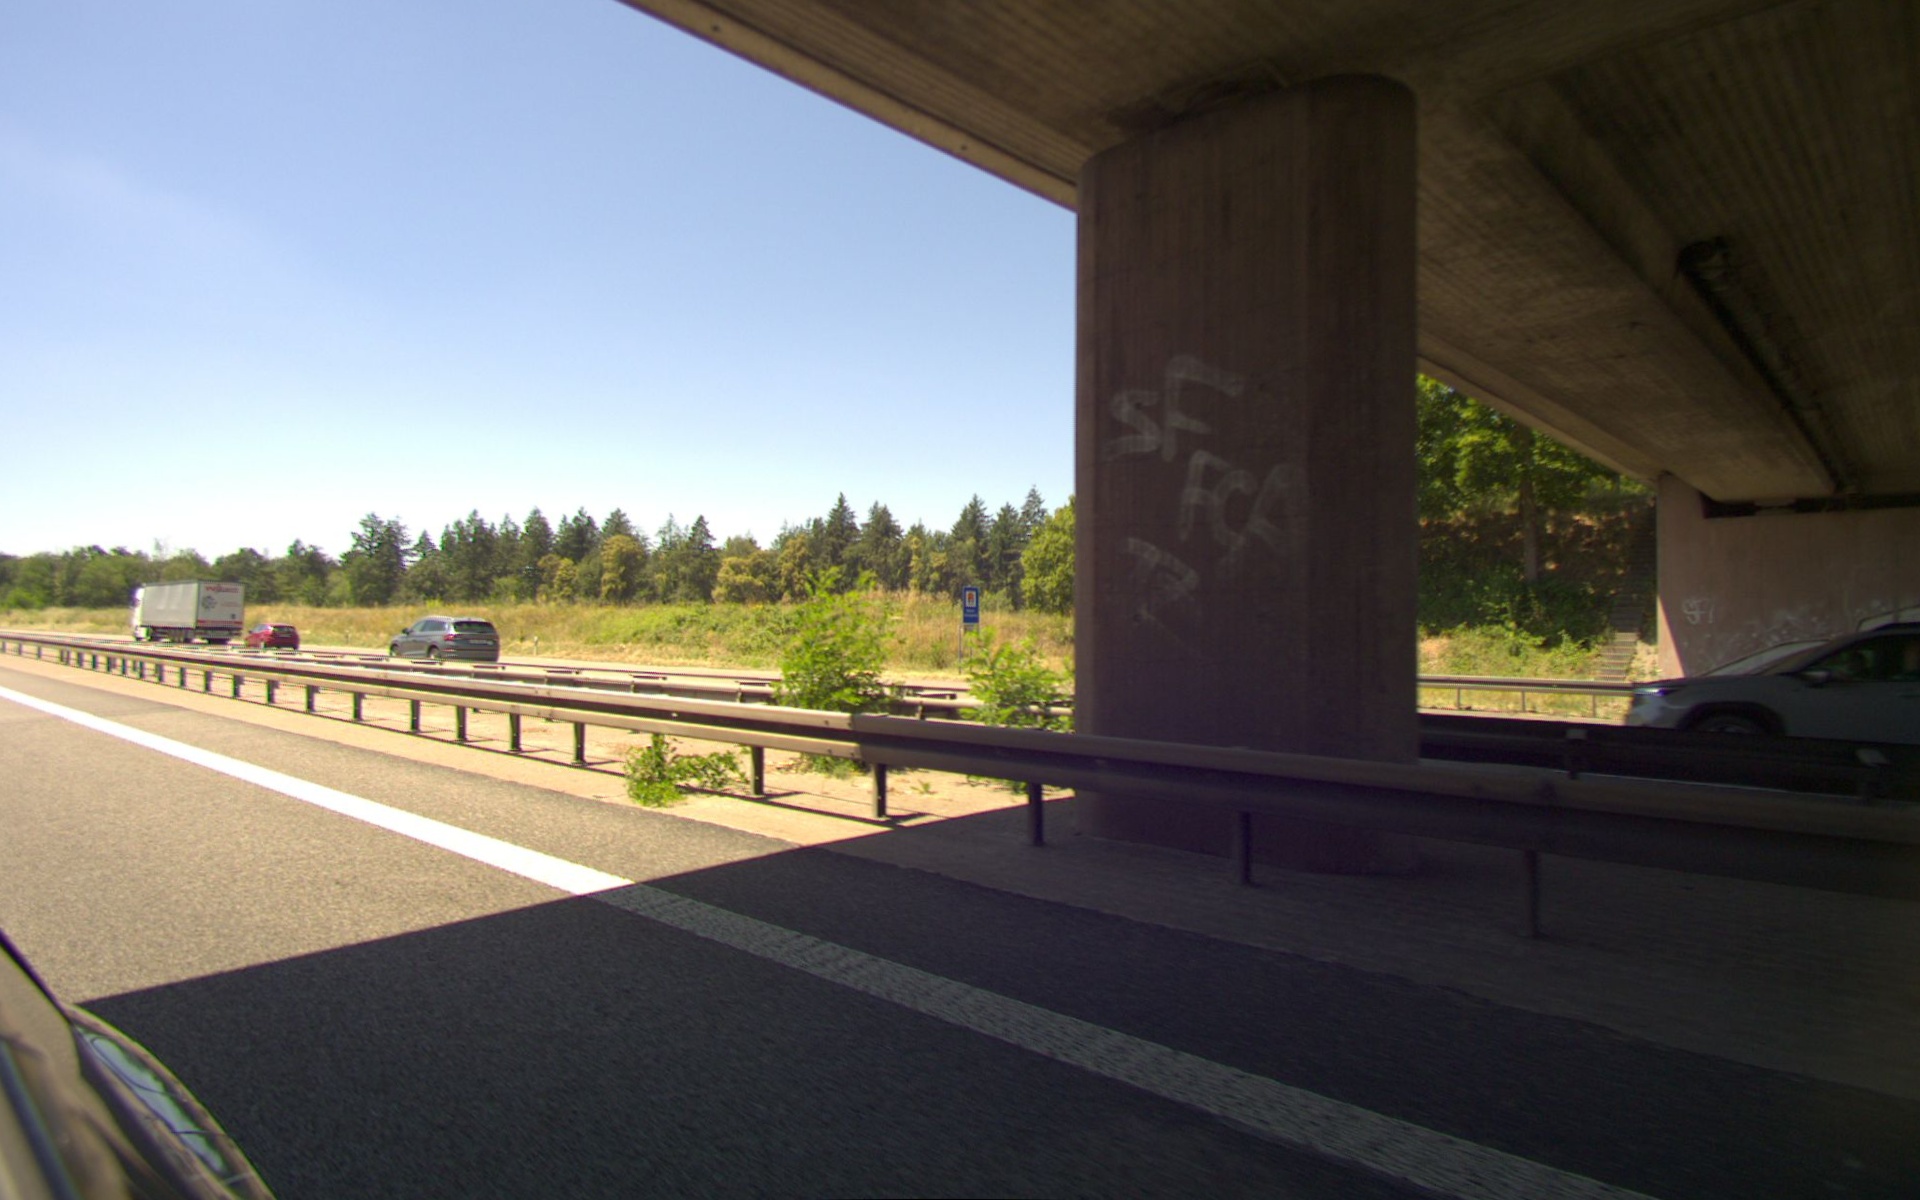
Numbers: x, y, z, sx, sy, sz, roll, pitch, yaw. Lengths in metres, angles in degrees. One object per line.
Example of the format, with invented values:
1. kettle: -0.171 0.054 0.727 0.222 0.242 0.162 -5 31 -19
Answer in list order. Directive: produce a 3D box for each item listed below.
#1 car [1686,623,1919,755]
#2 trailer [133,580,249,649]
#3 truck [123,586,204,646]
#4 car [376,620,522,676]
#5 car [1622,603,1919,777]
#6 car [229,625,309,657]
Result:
1. car: 12.641 1.152 13.164 5.055 1.623 2.205 -1 -4 40
2. trailer: -51.384 1.041 67.355 14.090 4.139 2.919 -1 -4 40
3. truck: -56.195 1.194 71.372 6.947 3.990 2.919 -1 -4 40
4. car: -16.001 1.479 31.600 5.055 1.623 2.205 -1 -4 40
5. car: 9.814 0.898 10.195 5.055 1.623 2.205 -1 -4 40
6. car: -36.908 2.171 54.019 4.783 1.623 2.205 -1 -4 40
